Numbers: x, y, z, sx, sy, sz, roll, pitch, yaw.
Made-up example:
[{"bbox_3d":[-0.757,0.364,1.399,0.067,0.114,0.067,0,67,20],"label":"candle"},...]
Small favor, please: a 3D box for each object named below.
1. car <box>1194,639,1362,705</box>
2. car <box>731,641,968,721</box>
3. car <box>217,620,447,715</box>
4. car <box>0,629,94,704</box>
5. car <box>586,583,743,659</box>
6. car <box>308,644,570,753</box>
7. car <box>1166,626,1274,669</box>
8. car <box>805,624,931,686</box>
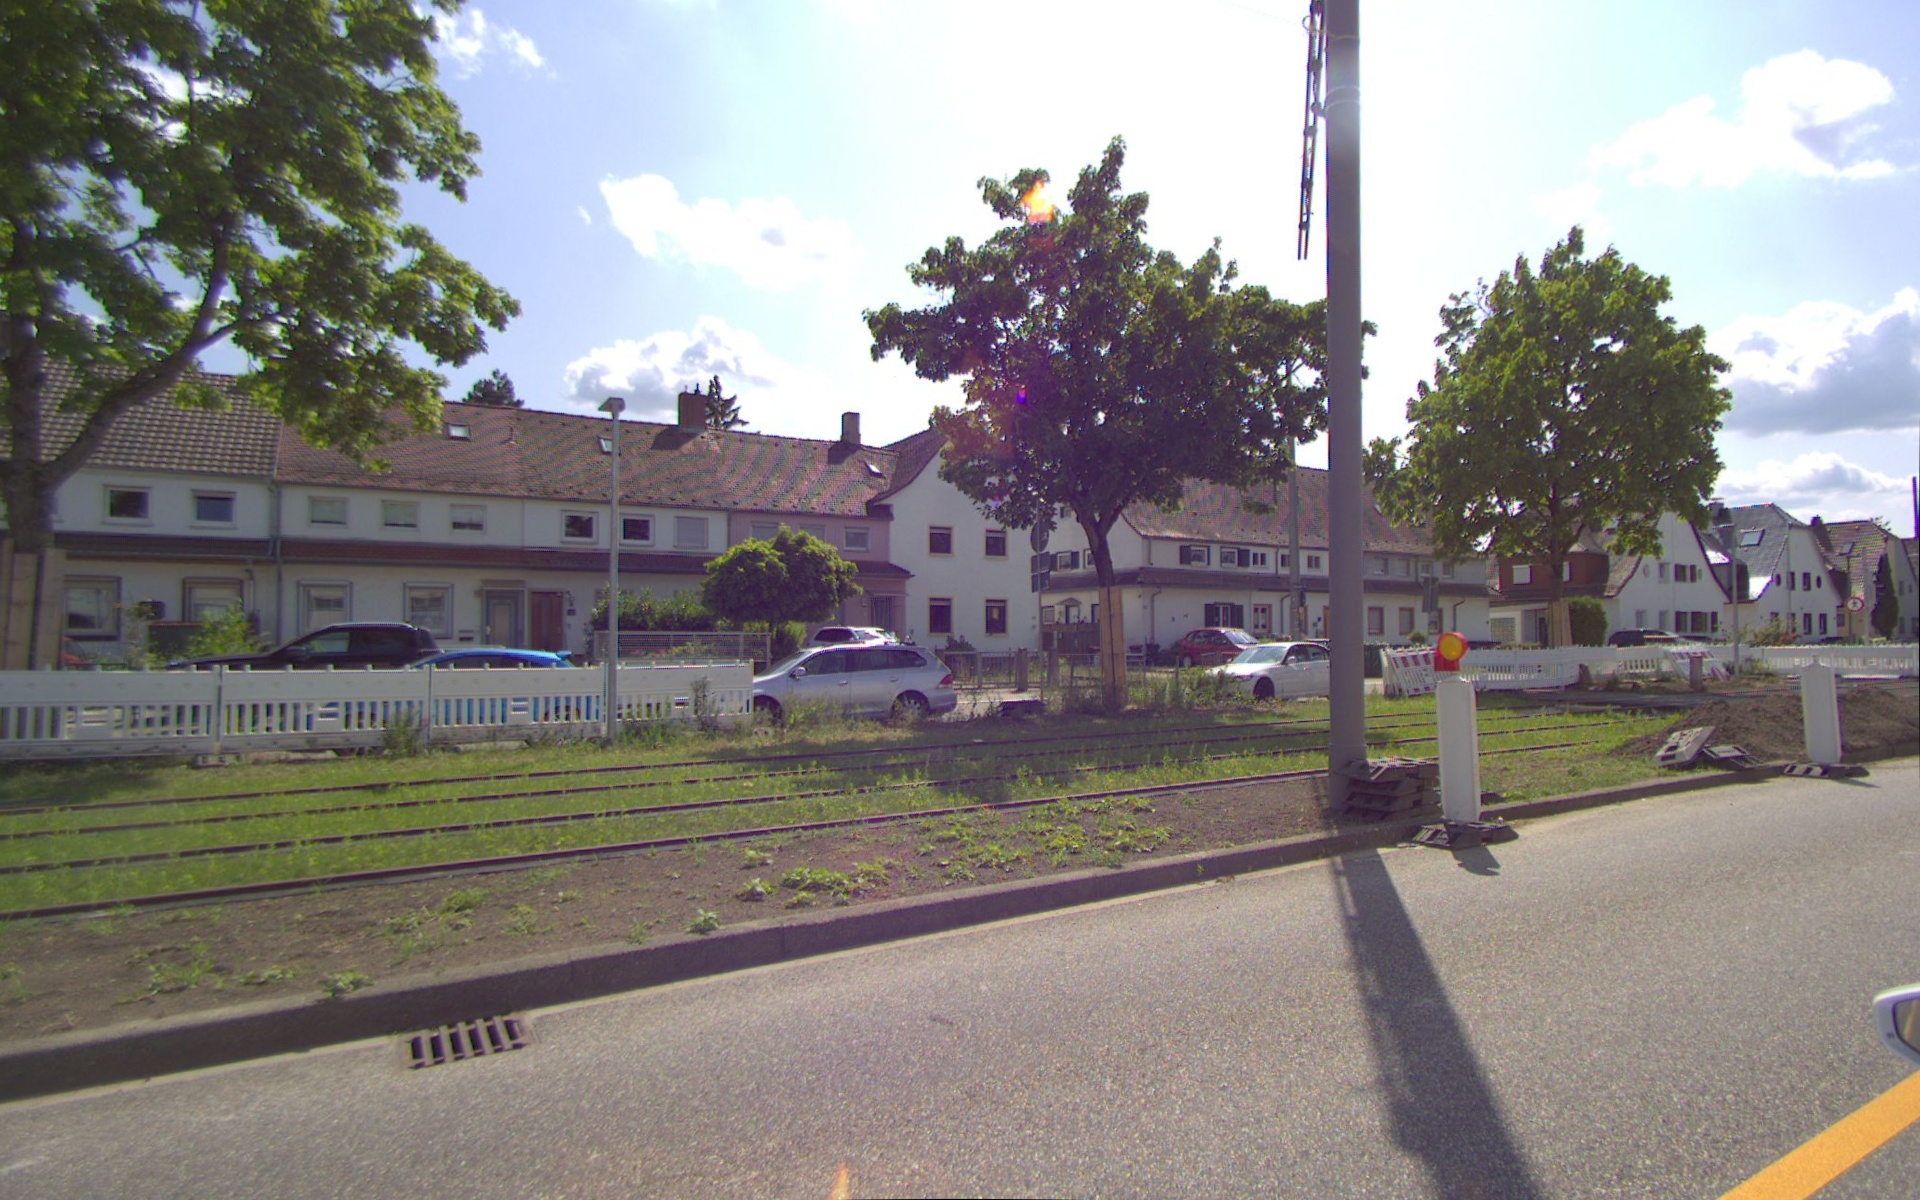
[{"bbox_3d":[7.429,1.609,23.298,4.212,1.395,1.530,1,-2,-37],"label":"car"},{"bbox_3d":[-1.827,1.305,16.908,3.705,1.192,1.495,1,-2,-31],"label":"car"},{"bbox_3d":[-10.861,1.131,17.561,3.273,1.515,1.376,1,-2,-31],"label":"car"},{"bbox_3d":[-19.437,1.345,21.059,1.269,1.398,2.796,2,-1,-27],"label":"car"},{"bbox_3d":[-8.516,0.625,29.020,3.955,2.040,1.983,2,-1,-31],"label":"car"},{"bbox_3d":[-7.253,1.306,14.076,3.136,1.342,1.332,1,-2,-33],"label":"car"},{"bbox_3d":[9.877,1.798,38.421,1.706,1.529,3.966,1,-3,-31],"label":"car"},{"bbox_3d":[-2.972,1.682,31.797,1.785,1.708,4.369,2,-1,-40],"label":"car"}]
